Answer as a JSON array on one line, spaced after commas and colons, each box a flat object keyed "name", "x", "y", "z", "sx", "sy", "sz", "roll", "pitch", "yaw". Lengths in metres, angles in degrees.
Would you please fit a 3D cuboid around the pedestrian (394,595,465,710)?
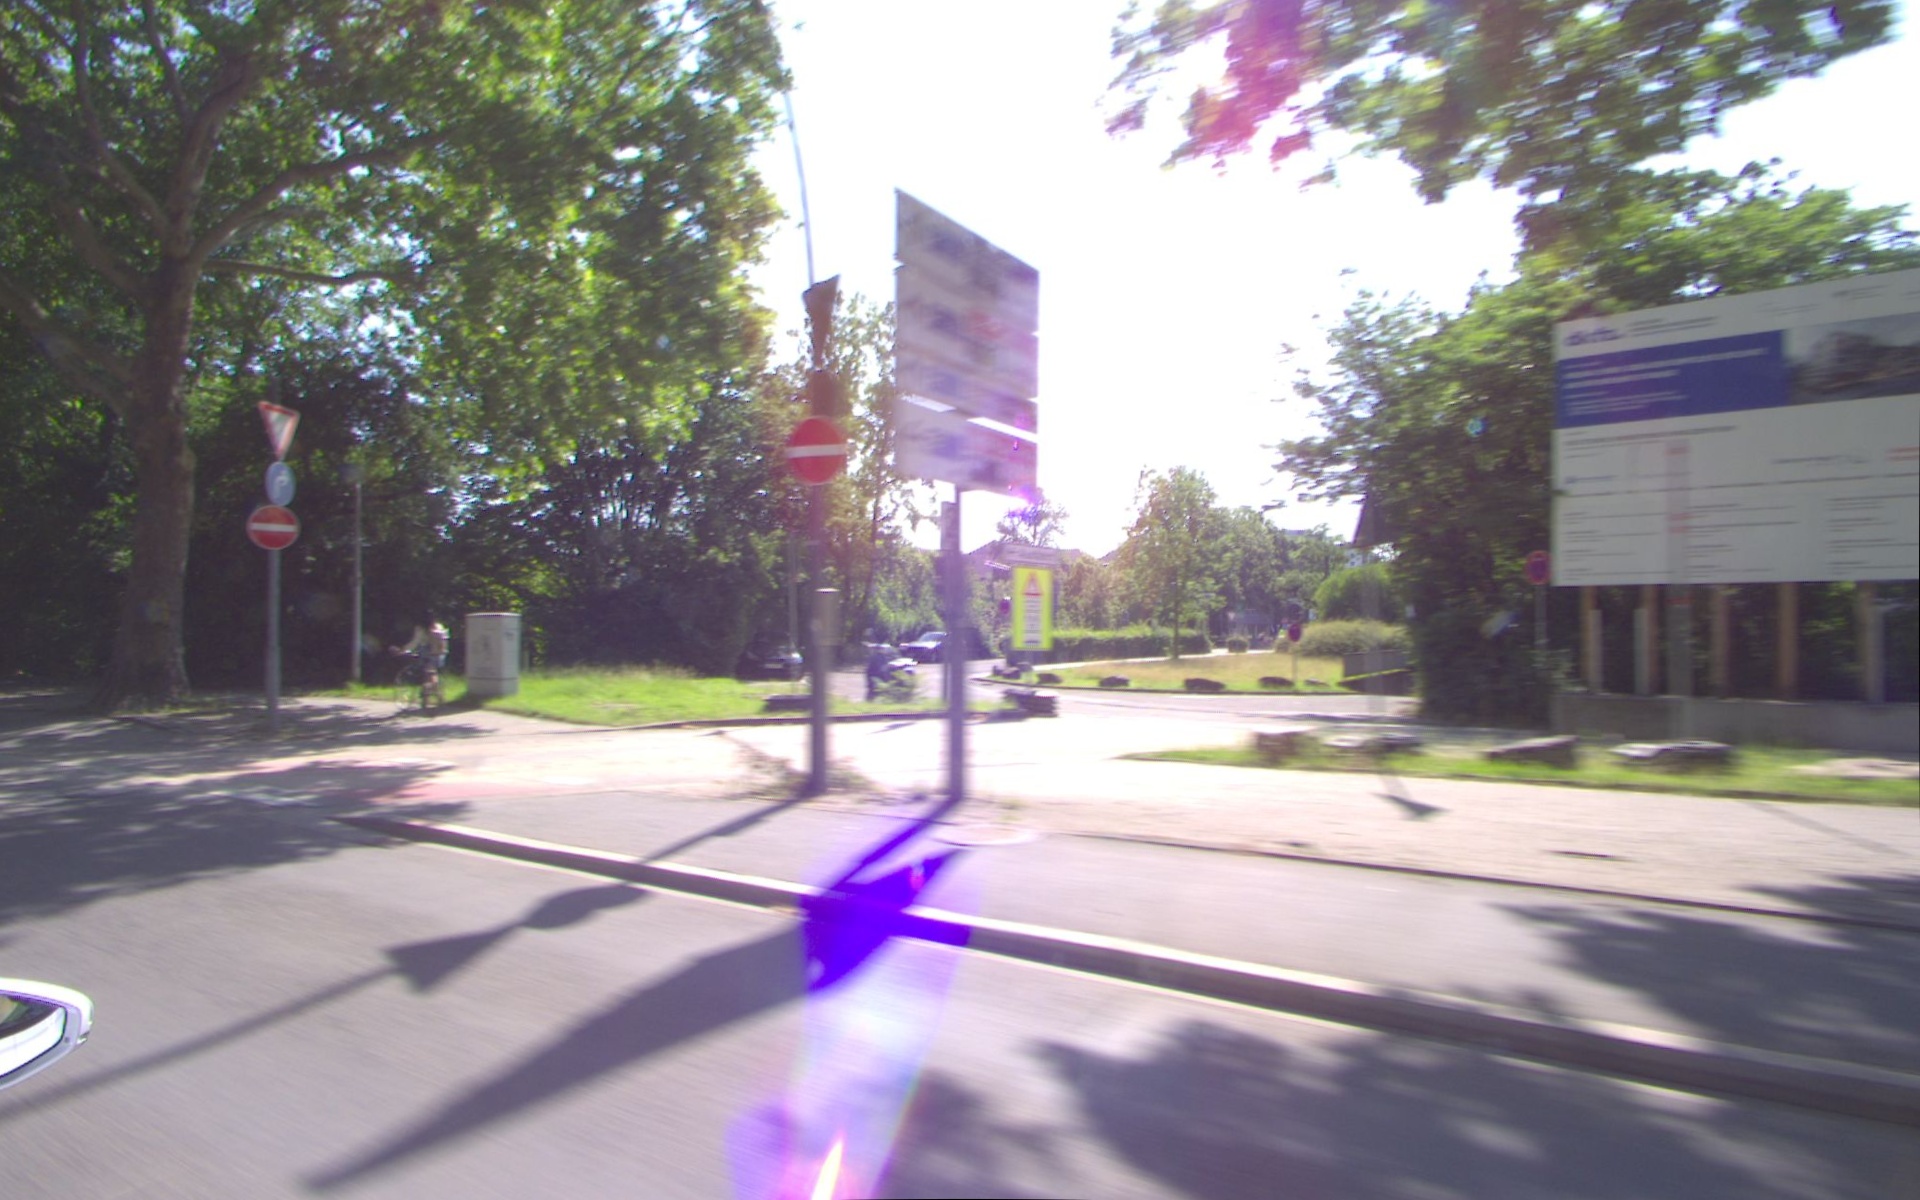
[{"name": "pedestrian", "x": -8.621, "y": 0.838, "z": 16.274, "sx": 0.861, "sy": 1.808, "sz": 0.631, "roll": 0, "pitch": -2, "yaw": 31}]

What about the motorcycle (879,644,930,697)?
[{"name": "motorcycle", "x": -1.063, "y": 1.353, "z": 19.477, "sx": 0.463, "sy": 0.980, "sz": 1.220, "roll": 0, "pitch": -2, "yaw": 25}]

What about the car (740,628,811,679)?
[{"name": "car", "x": -5.719, "y": 1.648, "z": 31.467, "sx": 1.651, "sy": 1.472, "sz": 4.002, "roll": 1, "pitch": -2, "yaw": -2}]

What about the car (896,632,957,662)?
[{"name": "car", "x": -1.660, "y": 2.399, "z": 51.314, "sx": 1.655, "sy": 1.472, "sz": 3.992, "roll": 0, "pitch": -2, "yaw": 22}]

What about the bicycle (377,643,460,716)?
[{"name": "bicycle", "x": -8.582, "y": 1.231, "z": 15.838, "sx": 1.674, "sy": 1.095, "sz": 0.349, "roll": -1, "pitch": -2, "yaw": 32}]
